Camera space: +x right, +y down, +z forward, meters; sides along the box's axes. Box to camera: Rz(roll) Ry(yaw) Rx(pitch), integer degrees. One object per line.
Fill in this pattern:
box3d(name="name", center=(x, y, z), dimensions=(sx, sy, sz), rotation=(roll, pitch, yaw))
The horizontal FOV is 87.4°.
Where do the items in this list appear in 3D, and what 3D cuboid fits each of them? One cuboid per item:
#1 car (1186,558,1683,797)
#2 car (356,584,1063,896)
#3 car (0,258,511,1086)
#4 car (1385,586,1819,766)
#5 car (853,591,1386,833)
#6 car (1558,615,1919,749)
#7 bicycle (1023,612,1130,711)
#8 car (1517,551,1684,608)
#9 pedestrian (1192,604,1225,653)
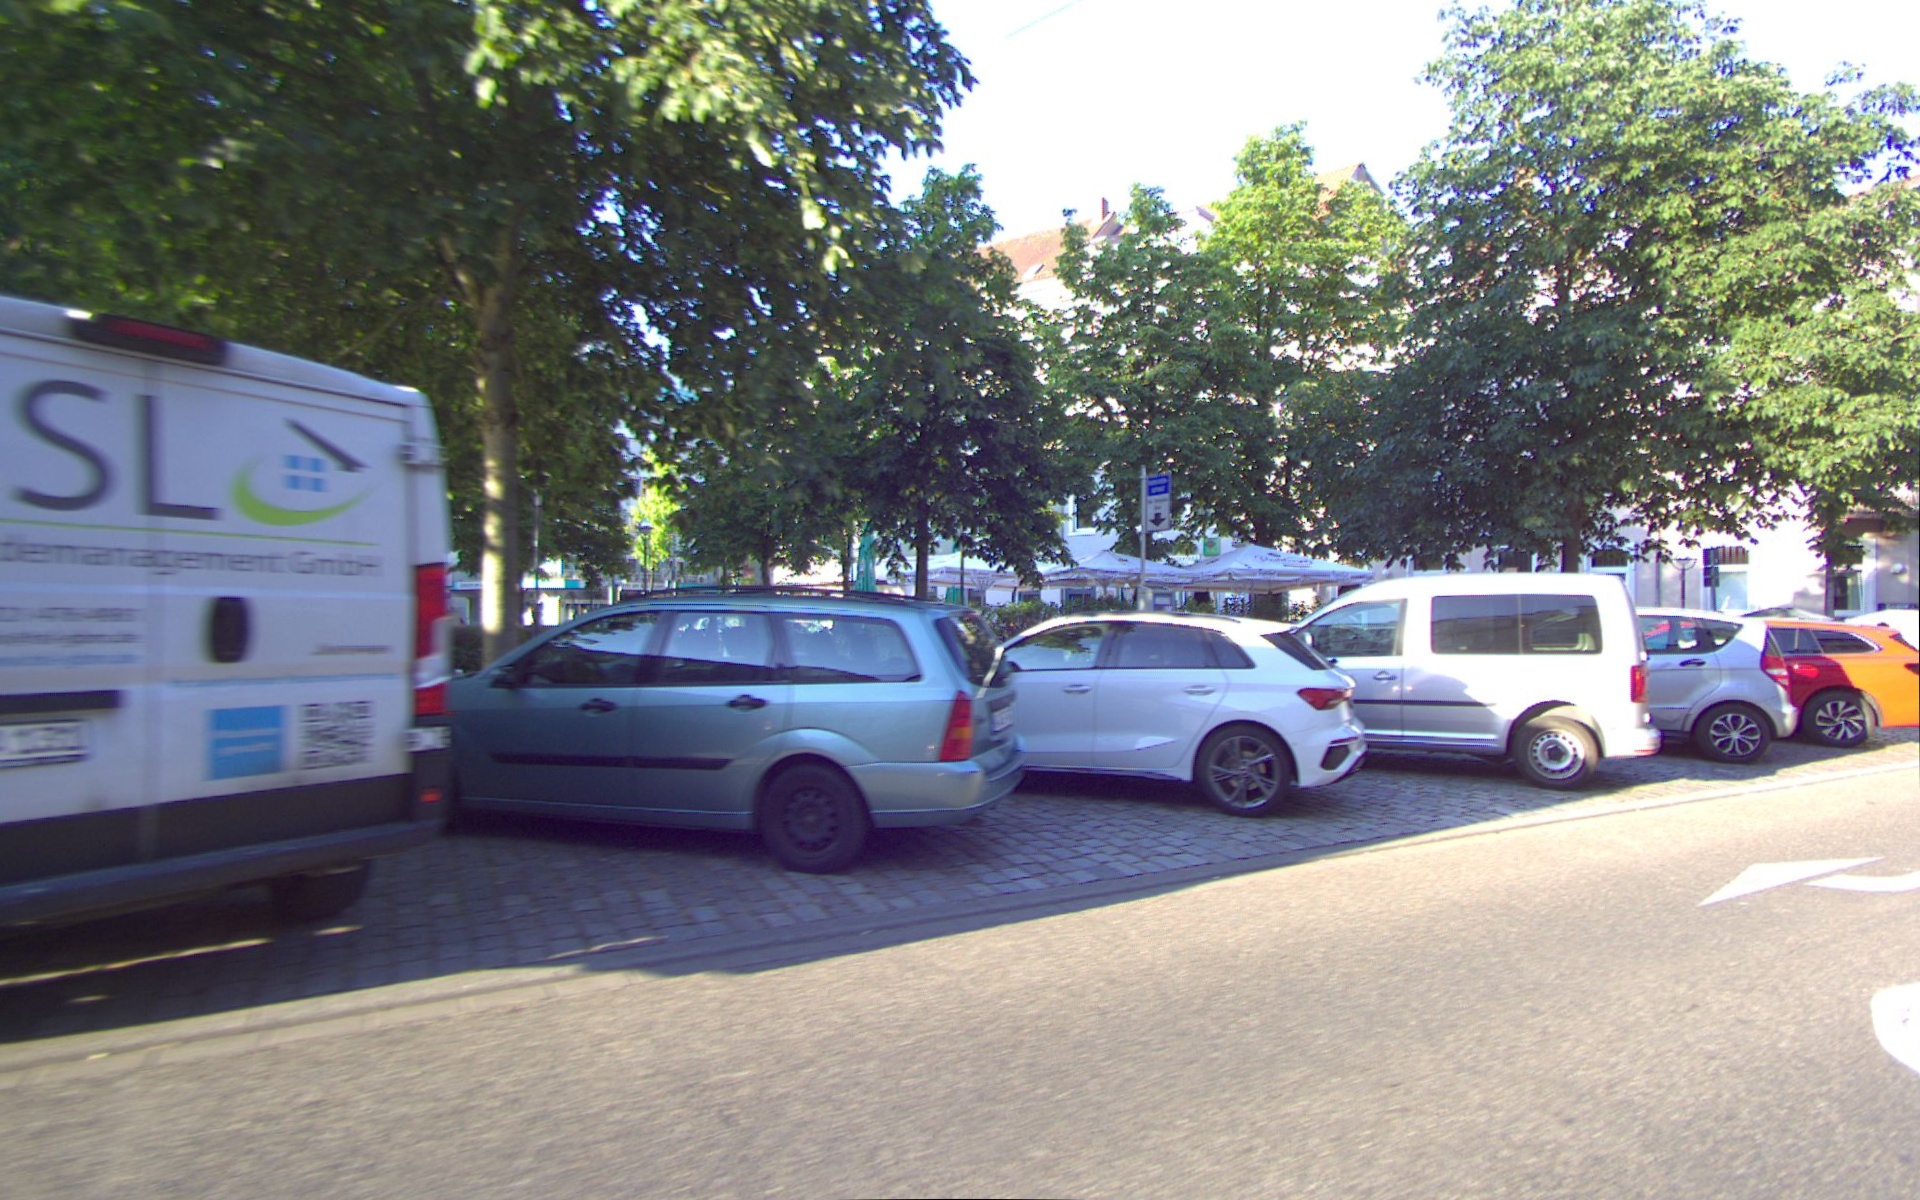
box3d(name="car", center=(4.348, 0.598, 9.675), dimensions=(3.924, 1.903, 1.869), rotation=(1, 0, 25))
box3d(name="car", center=(-1.463, 0.673, 6.345), dimensions=(3.920, 1.487, 1.883), rotation=(1, 0, 16))
box3d(name="car", center=(-4.291, 0.173, 4.378), dimensions=(4.536, 2.281, 2.197), rotation=(1, 0, 34))
box3d(name="car", center=(7.092, 0.748, 11.611), dimensions=(3.924, 1.719, 1.748), rotation=(2, 0, 25))
box3d(name="car", center=(1.313, 0.732, 8.188), dimensions=(3.923, 1.512, 1.849), rotation=(1, 0, 23))
box3d(name="car", center=(10.114, 0.961, 13.133), dimensions=(3.930, 1.505, 1.995), rotation=(0, -1, 32))
box3d(name="bicycle", center=(1.552, 0.794, 13.615), dimensions=(0.393, 1.235, 1.618), rotation=(0, 1, -39))
box3d(name="car", center=(20.295, -0.606, 31.917), dimensions=(4.359, 1.699, 1.954), rotation=(0, 0, 35))
box3d(name="pedestrian", center=(6.038, 0.684, 24.422), dimensions=(0.527, 1.187, 0.578), rotation=(1, 0, -22))
